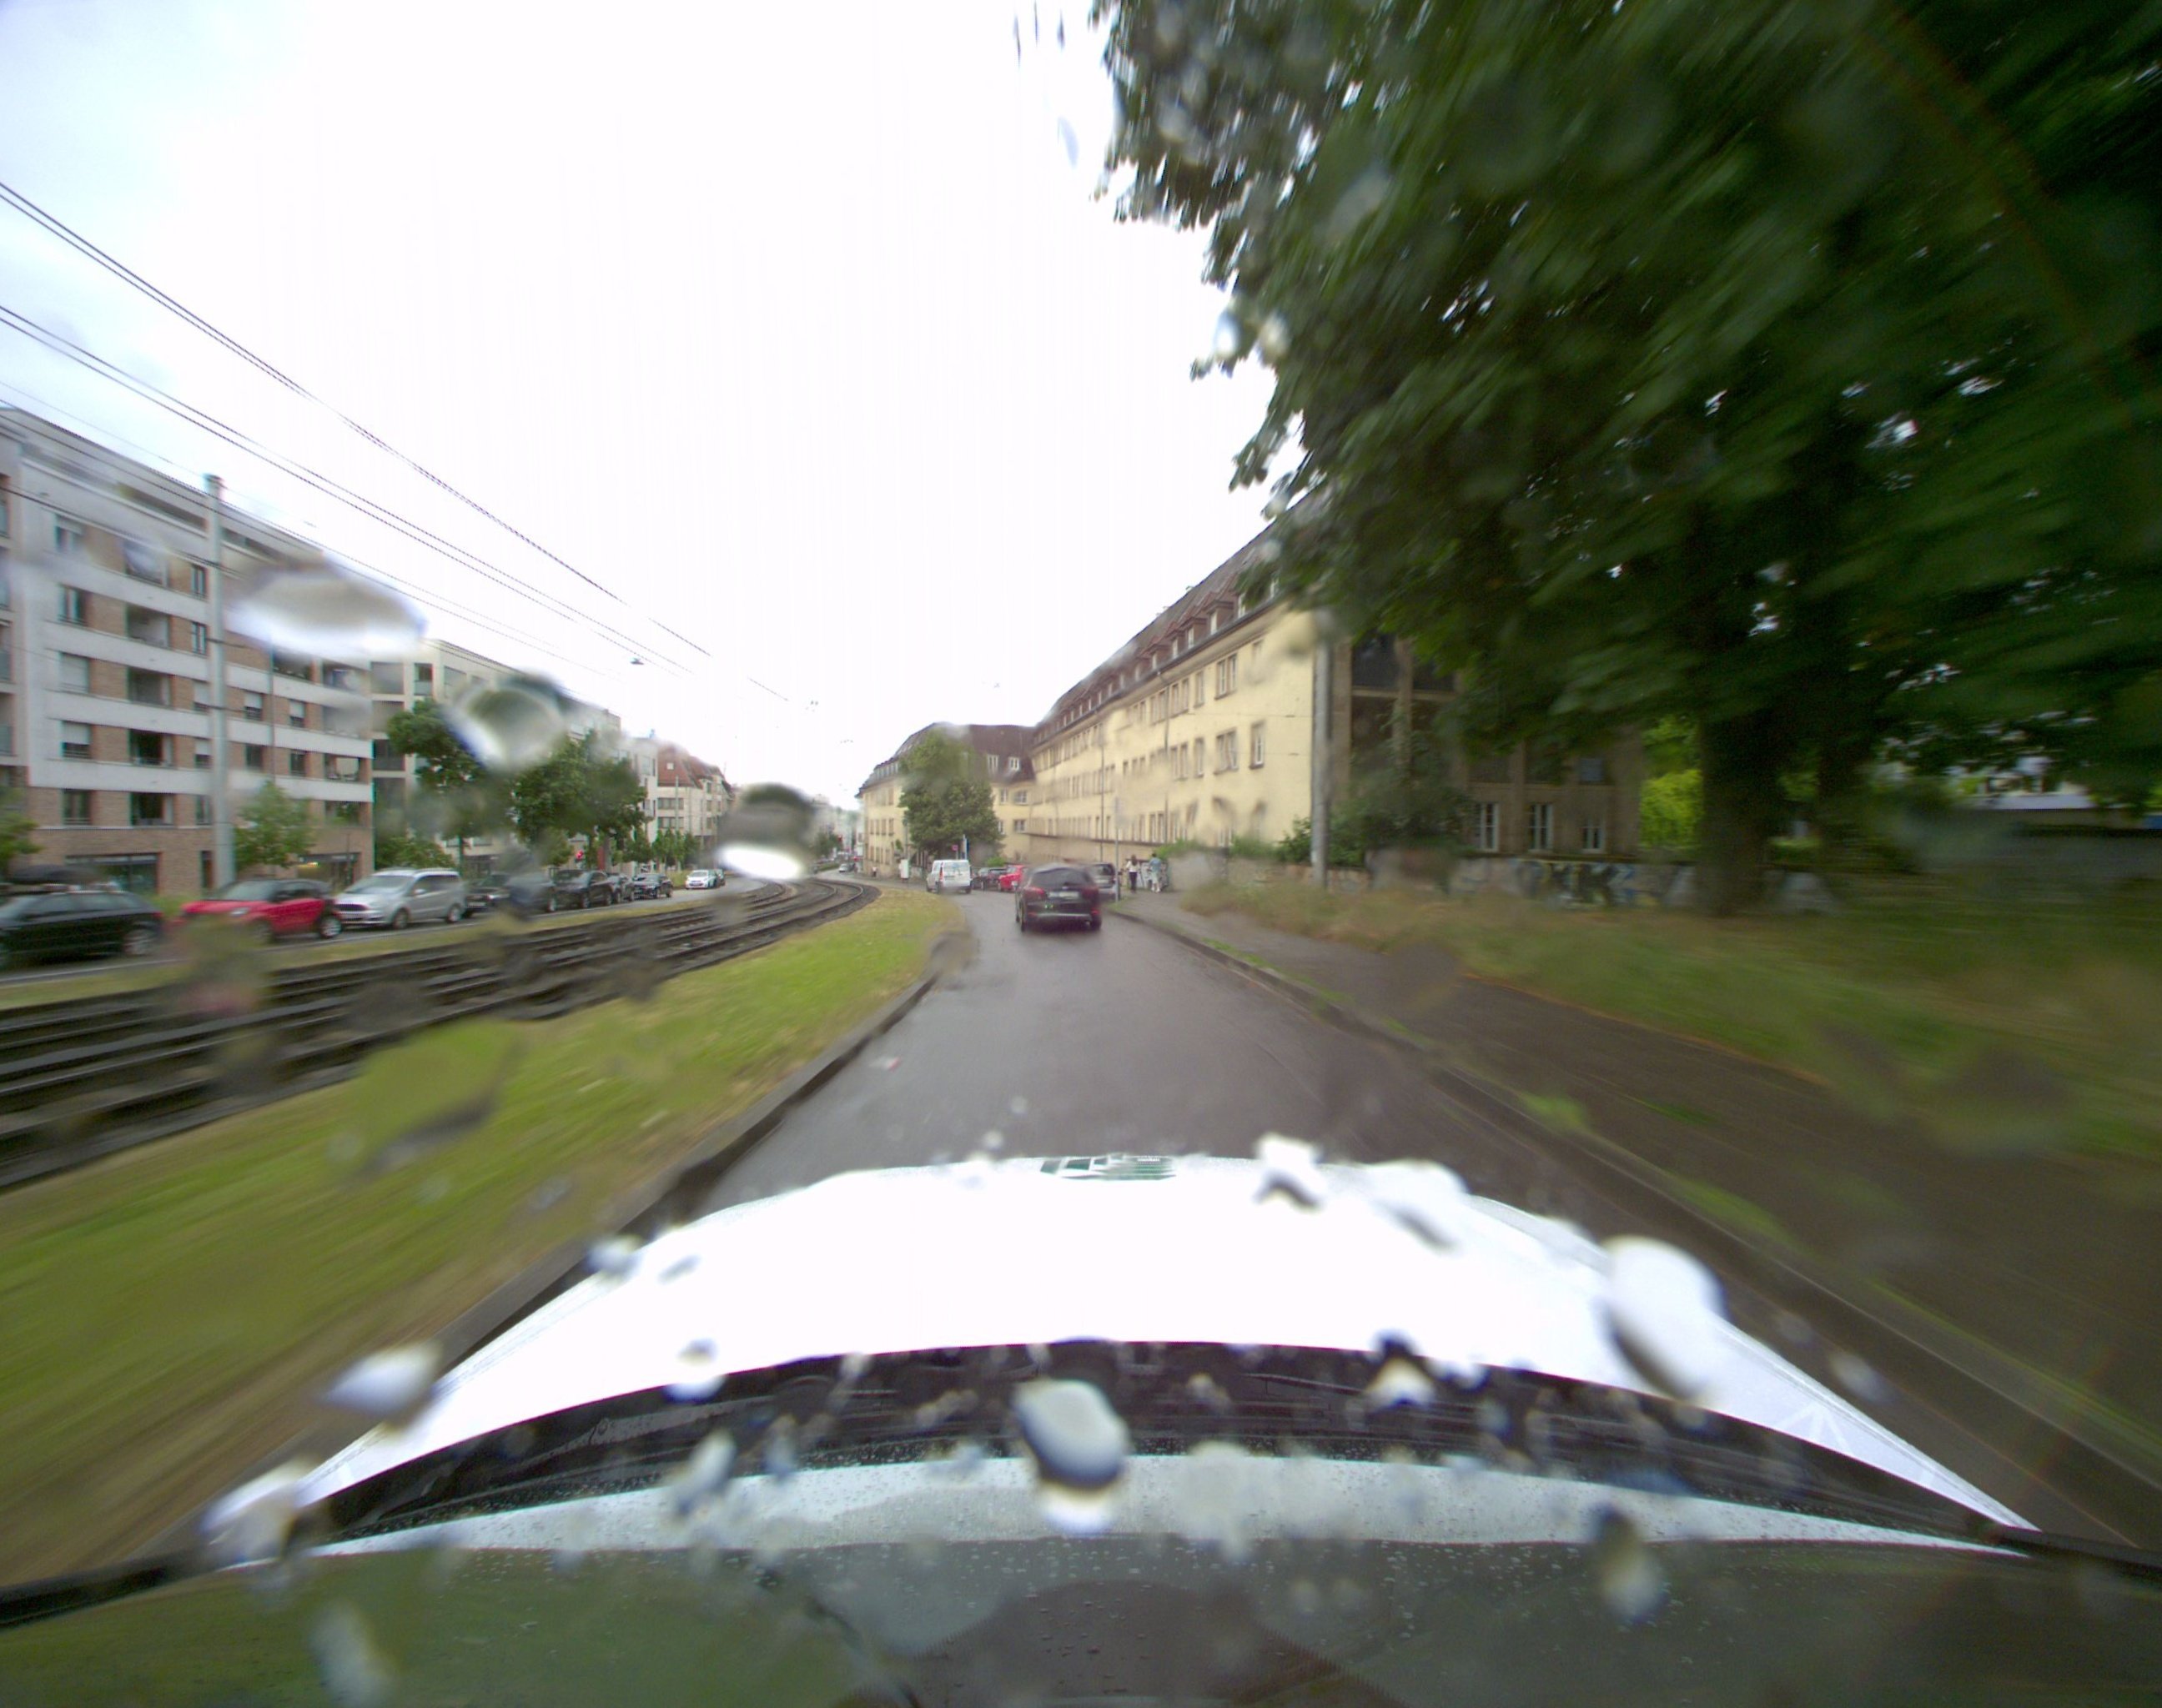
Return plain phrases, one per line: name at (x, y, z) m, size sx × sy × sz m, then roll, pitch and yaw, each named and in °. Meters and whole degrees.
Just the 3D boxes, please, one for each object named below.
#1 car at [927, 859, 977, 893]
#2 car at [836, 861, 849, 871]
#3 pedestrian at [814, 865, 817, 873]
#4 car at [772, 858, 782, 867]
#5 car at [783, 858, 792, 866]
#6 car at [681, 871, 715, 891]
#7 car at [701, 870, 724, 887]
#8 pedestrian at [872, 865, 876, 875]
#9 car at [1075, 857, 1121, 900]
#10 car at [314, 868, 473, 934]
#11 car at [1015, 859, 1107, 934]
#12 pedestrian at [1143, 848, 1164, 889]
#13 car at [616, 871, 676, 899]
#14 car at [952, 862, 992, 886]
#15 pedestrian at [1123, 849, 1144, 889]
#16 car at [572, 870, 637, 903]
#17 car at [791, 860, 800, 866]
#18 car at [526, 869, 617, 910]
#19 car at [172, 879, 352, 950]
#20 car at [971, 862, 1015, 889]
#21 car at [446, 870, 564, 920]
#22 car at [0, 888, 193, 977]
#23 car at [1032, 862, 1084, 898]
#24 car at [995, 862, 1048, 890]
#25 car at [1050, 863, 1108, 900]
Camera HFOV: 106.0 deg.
car at (-7.255, 1.176, 45.571) m, size 2.142 × 1.745 × 4.193 m, roll -2°, pitch 0°, yaw -18°
car at (-44.794, 2.232, 152.882) m, size 1.995 × 1.772 × 3.984 m, roll -1°, pitch 0°, yaw -12°
pedestrian at (-43.870, 2.413, 134.599) m, size 0.511 × 1.315 × 0.502 m, roll -1°, pitch 0°, yaw -21°
car at (-68.560, 1.974, 183.595) m, size 1.999 × 2.013 × 3.976 m, roll -1°, pitch 0°, yaw -18°
car at (-74.416, 2.036, 206.417) m, size 1.999 × 2.013 × 3.976 m, roll -1°, pitch 0°, yaw -18°
car at (-30.428, 2.100, 64.839) m, size 1.769 × 1.479 × 3.715 m, roll -2°, pitch 0°, yaw -15°
car at (-35.368, 2.320, 78.244) m, size 1.726 × 1.513 × 4.286 m, roll -1°, pitch 0°, yaw -22°
pedestrian at (-27.693, 2.184, 109.031) m, size 0.506 × 1.315 × 0.507 m, roll -1°, pitch 0°, yaw -23°
car at (0.604, 0.874, 30.365) m, size 1.593 × 1.465 × 2.720 m, roll -2°, pitch 0°, yaw 0°
car at (-20.657, 1.341, 24.722) m, size 1.662 × 1.747 × 4.244 m, roll -1°, pitch 0°, yaw -8°
car at (-0.585, 0.917, 19.404) m, size 1.917 × 1.479 × 3.993 m, roll -2°, pitch 0°, yaw -5°
pedestrian at (3.209, 0.647, 36.202) m, size 0.718 × 1.754 × 0.736 m, roll -2°, pitch 0°, yaw -11°
car at (-24.648, 1.726, 46.301) m, size 1.968 × 1.431 × 4.179 m, roll 0°, pitch -1°, yaw -14°
car at (-7.452, 1.324, 55.350) m, size 1.672 × 1.476 × 4.078 m, roll -2°, pitch 0°, yaw -22°
pedestrian at (2.307, 0.663, 36.052) m, size 0.718 × 1.754 × 0.736 m, roll -2°, pitch 0°, yaw -11°
car at (-23.617, 1.583, 40.517) m, size 1.740 × 1.489 × 4.234 m, roll 0°, pitch -1°, yaw -16°
car at (-76.903, 2.495, 219.471) m, size 1.999 × 1.662 × 3.976 m, roll -1°, pitch 0°, yaw -18°
car at (-22.252, 1.498, 35.783) m, size 1.804 × 1.583 × 4.680 m, roll 0°, pitch -1°, yaw -11°
car at (-19.911, 1.420, 19.958) m, size 1.465 × 1.531 × 2.928 m, roll 1°, pitch 0°, yaw -2°
car at (-5.421, 1.278, 49.720) m, size 1.671 × 1.476 × 4.427 m, roll -2°, pitch 0°, yaw -20°
car at (-21.260, 1.445, 30.320) m, size 1.731 × 1.644 × 4.517 m, roll 0°, pitch 0°, yaw -9°
car at (-19.824, 1.437, 15.379) m, size 1.548 × 1.447 × 4.390 m, roll 0°, pitch 0°, yaw -6°
car at (-1.186, 1.217, 39.801) m, size 1.669 × 1.573 × 3.835 m, roll -2°, pitch 0°, yaw -15°
car at (-3.319, 1.190, 44.777) m, size 1.673 × 1.476 × 4.034 m, roll 0°, pitch -1°, yaw -24°
car at (-0.130, 1.108, 34.272) m, size 1.539 × 1.416 × 3.625 m, roll -2°, pitch 0°, yaw -15°
